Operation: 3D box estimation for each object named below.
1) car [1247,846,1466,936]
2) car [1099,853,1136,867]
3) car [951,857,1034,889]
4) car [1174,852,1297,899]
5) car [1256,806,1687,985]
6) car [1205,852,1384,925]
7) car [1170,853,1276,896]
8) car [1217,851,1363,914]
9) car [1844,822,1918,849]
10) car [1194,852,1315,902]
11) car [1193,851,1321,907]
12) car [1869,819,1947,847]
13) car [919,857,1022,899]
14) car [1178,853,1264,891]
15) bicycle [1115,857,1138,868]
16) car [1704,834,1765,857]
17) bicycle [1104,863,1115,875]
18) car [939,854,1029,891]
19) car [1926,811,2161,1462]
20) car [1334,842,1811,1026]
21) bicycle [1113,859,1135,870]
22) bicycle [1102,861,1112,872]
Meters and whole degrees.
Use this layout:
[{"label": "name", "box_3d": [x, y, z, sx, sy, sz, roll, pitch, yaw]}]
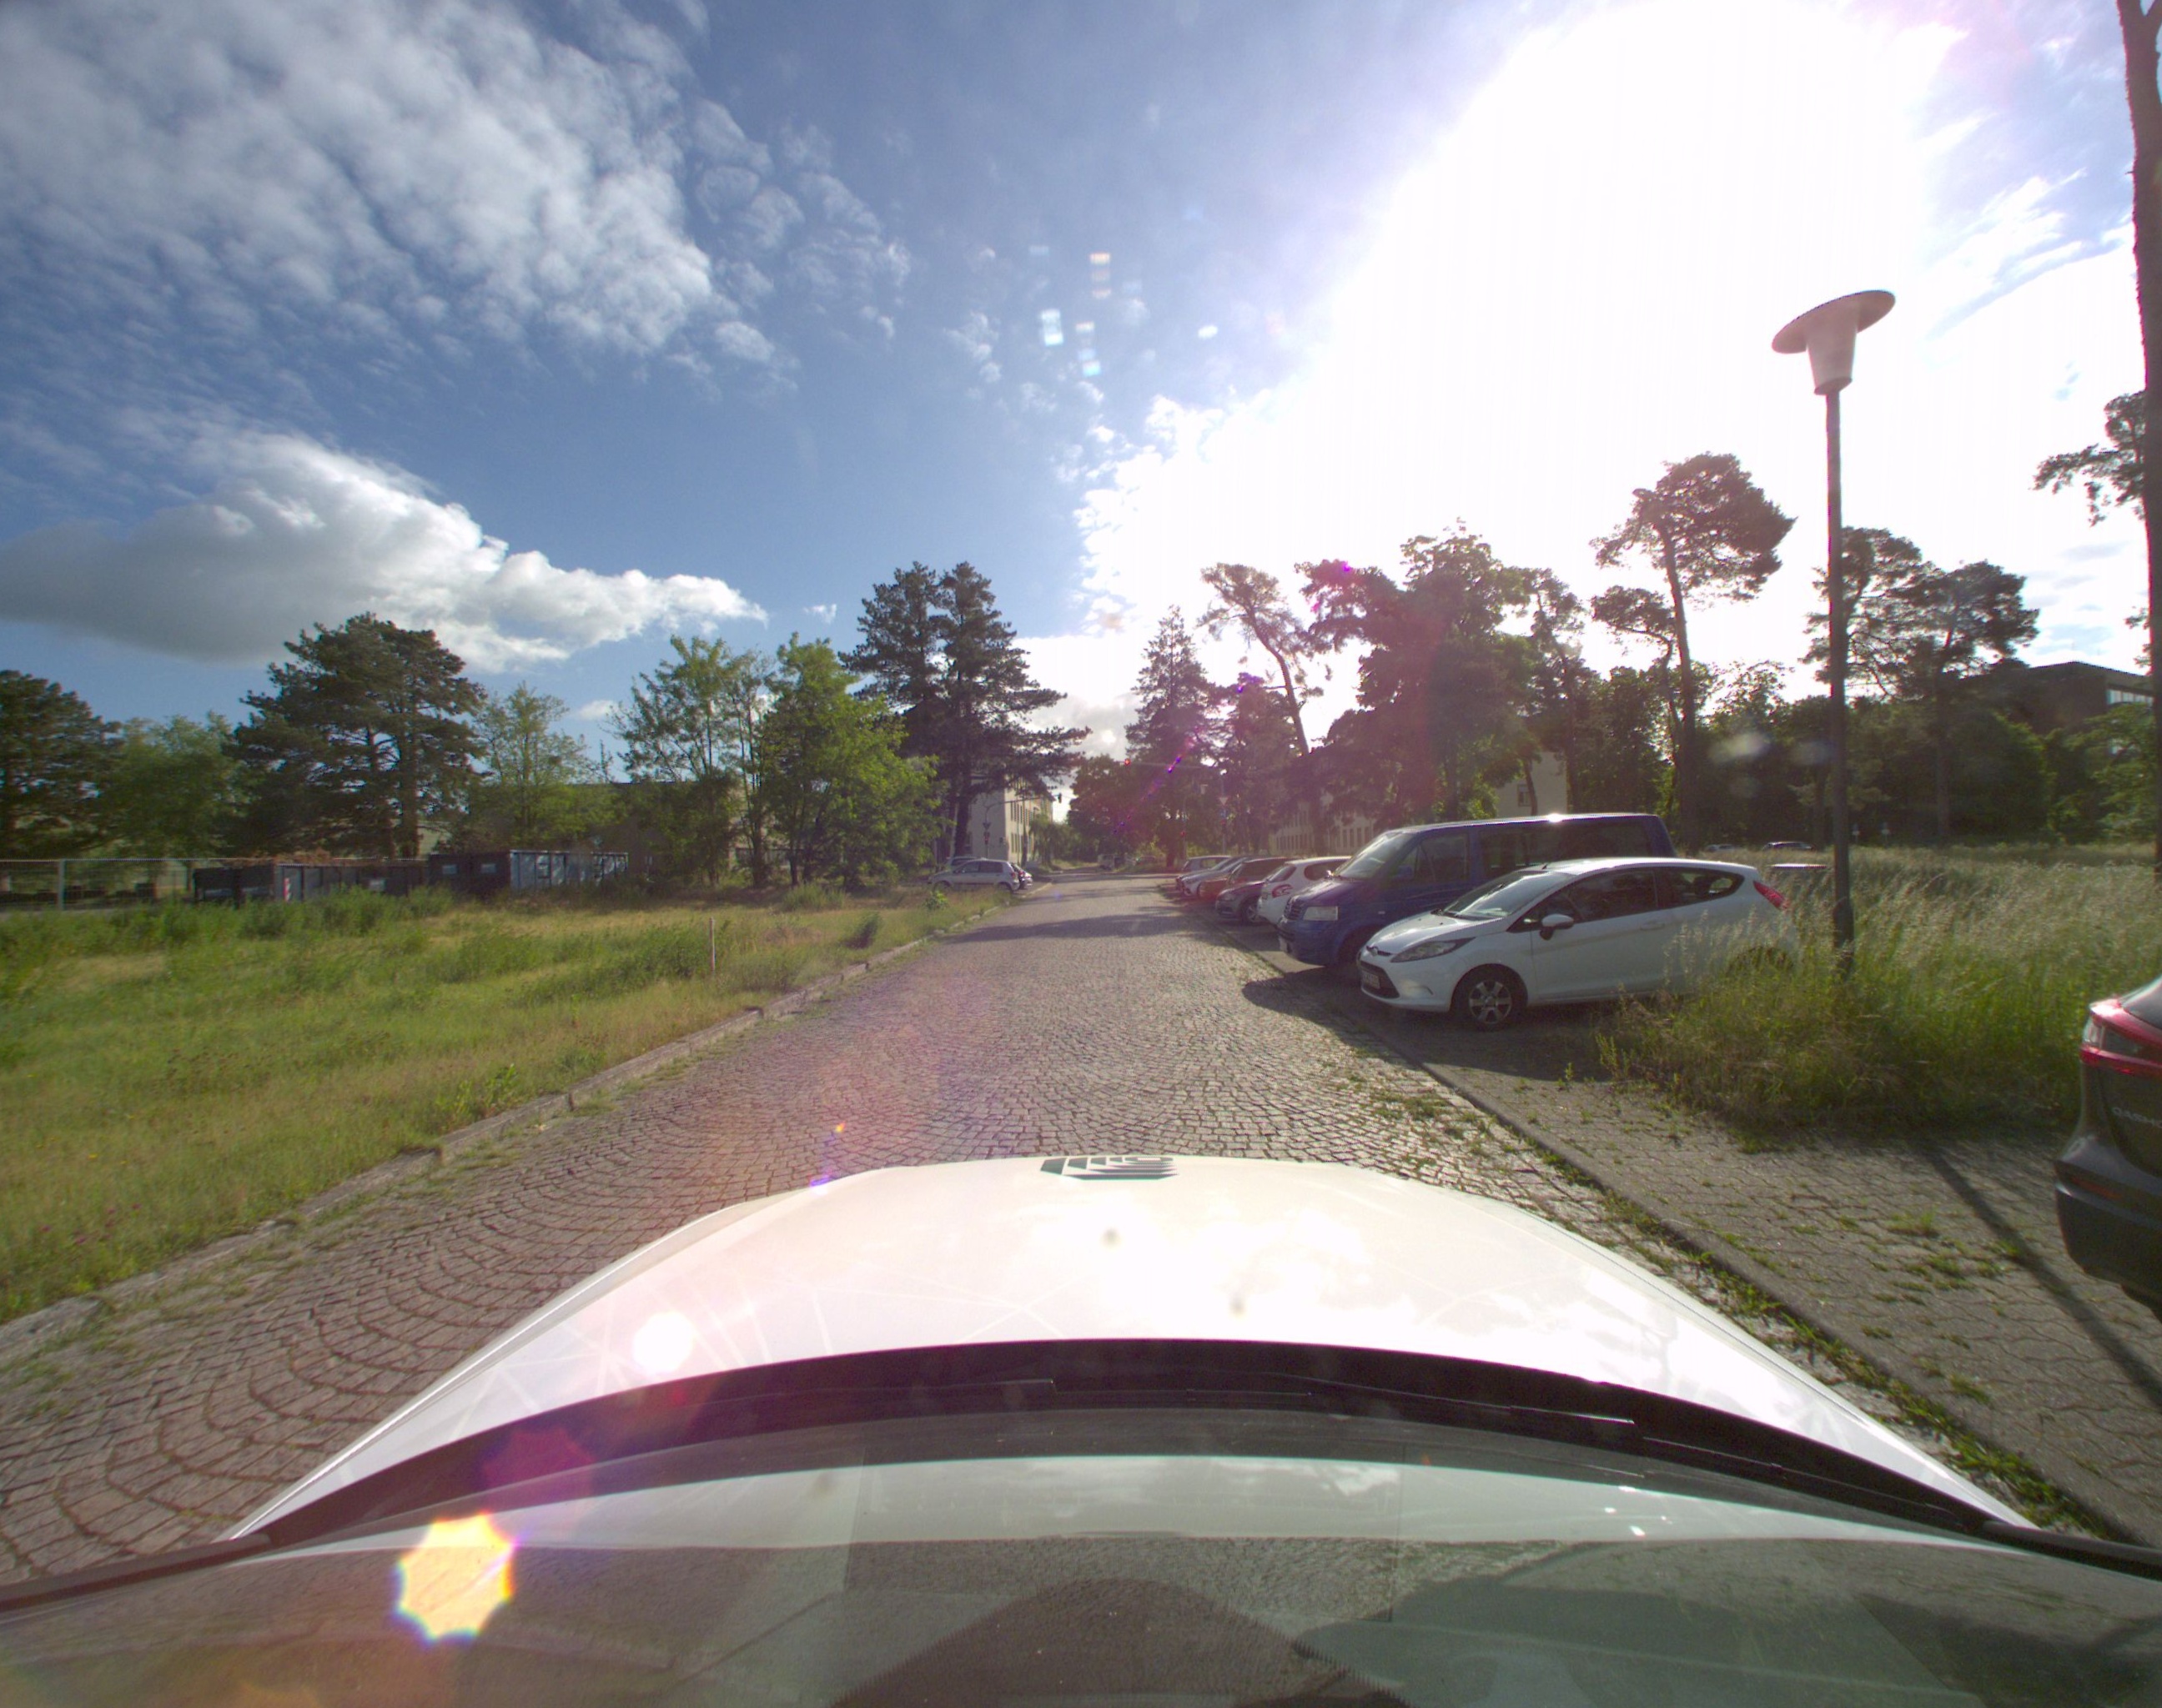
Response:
[{"label": "car", "box_3d": [5.257, 0.693, 15.895, 3.679, 1.466, 1.646, -3, 0, 2]}, {"label": "car", "box_3d": [4.485, 0.746, 100.888, 4.464, 1.728, 2.000, -1, 0, 1]}, {"label": "car", "box_3d": [-4.469, 0.955, 41.605, 3.973, 1.453, 2.000, 2, 0, 1]}, {"label": "car", "box_3d": [5.423, 0.742, 28.938, 4.024, 1.529, 1.644, -1, 0, -2]}, {"label": "car", "box_3d": [4.881, 0.487, 10.724, 4.664, 2.013, 2.082, -1, 0, -2]}, {"label": "car", "box_3d": [4.840, 0.759, 18.794, 3.663, 1.467, 1.645, -2, 0, 0]}, {"label": "car", "box_3d": [5.465, 0.771, 31.710, 3.823, 1.529, 1.645, -1, 0, 0]}, {"label": "car", "box_3d": [5.503, 0.721, 21.700, 3.466, 1.529, 1.645, -1, 0, 0]}, {"label": "car", "box_3d": [64.332, -1.479, 65.517, 3.972, 2.013, 2.001, -1, 0, 1]}, {"label": "car", "box_3d": [5.636, 0.730, 26.749, 3.591, 1.529, 1.645, -1, 0, 0]}, {"label": "car", "box_3d": [5.214, 0.733, 24.400, 3.466, 1.529, 1.645, -1, 0, 0]}, {"label": "car", "box_3d": [64.368, -1.636, 63.425, 3.972, 2.013, 2.001, -1, 0, 1]}, {"label": "car", "box_3d": [-4.521, 0.976, 33.810, 3.975, 1.600, 1.999, -1, 0, -1]}, {"label": "car", "box_3d": [5.855, 0.747, 34.343, 3.332, 1.483, 1.645, -1, 0, 0]}, {"label": "bicycle", "box_3d": [4.719, 0.883, 84.458, 2.172, 1.100, 0.805, -1, 0, -8]}, {"label": "car", "box_3d": [60.480, -0.808, 75.440, 3.972, 2.013, 2.001, -1, 0, 1]}, {"label": "bicycle", "box_3d": [2.797, 1.463, 79.975, 0.803, 1.169, 2.177, -3, 0, -4]}, {"label": "car", "box_3d": [-4.623, 0.850, 39.207, 3.973, 1.601, 2.000, 2, 0, 1]}, {"label": "car", "box_3d": [4.630, 0.655, 1.681, 3.923, 1.621, 1.772, -1, 0, 0]}, {"label": "car", "box_3d": [4.629, 0.709, 8.048, 3.708, 1.488, 1.645, -2, 0, -1]}, {"label": "bicycle", "box_3d": [4.403, 1.071, 83.404, 2.172, 1.100, 0.805, -1, 0, -8]}, {"label": "bicycle", "box_3d": [2.596, 1.229, 82.884, 0.803, 1.100, 2.177, -1, 0, -4]}]
